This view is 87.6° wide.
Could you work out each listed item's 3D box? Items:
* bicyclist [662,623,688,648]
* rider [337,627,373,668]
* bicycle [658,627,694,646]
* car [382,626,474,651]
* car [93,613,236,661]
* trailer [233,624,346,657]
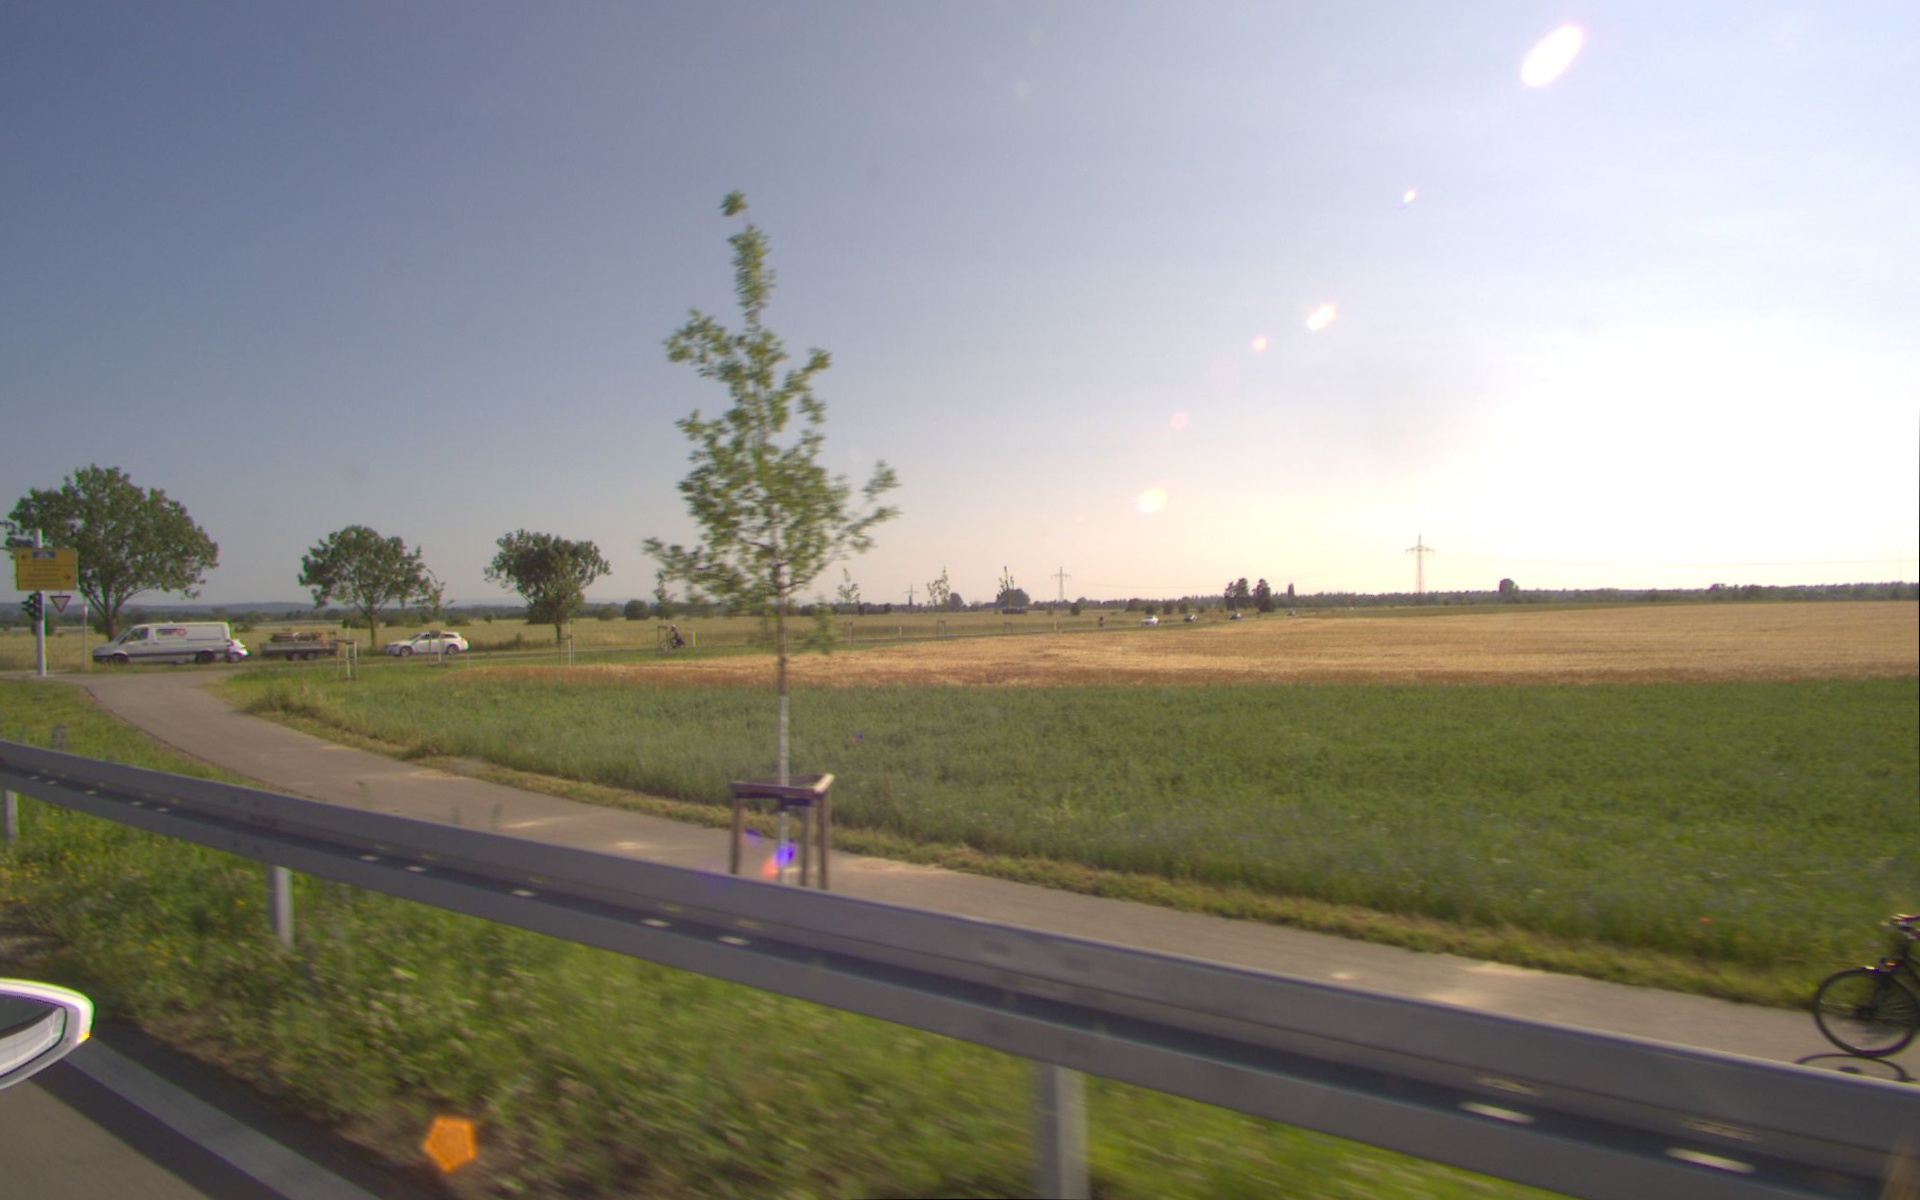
[{"bbox_3d":[-19.065,2.369,67.003,1.153,1.622,1.271,0,0,44],"label":"bicyclist"},{"bbox_3d":[-25.144,1.974,41.658,0.972,1.665,0.821,0,1,0],"label":"rider"},{"bbox_3d":[-19.022,2.442,67.071,0.881,1.201,2.144,-3,-2,44],"label":"bicycle"},{"bbox_3d":[-33.806,2.486,63.734,1.980,1.529,4.842,-3,-3,43],"label":"car"},{"bbox_3d":[-43.112,2.026,54.403,5.919,2.524,1.982,2,-3,-44],"label":"car"},{"bbox_3d":[-39.004,2.337,58.305,5.225,1.775,1.935,0,-1,-44],"label":"trailer"}]
